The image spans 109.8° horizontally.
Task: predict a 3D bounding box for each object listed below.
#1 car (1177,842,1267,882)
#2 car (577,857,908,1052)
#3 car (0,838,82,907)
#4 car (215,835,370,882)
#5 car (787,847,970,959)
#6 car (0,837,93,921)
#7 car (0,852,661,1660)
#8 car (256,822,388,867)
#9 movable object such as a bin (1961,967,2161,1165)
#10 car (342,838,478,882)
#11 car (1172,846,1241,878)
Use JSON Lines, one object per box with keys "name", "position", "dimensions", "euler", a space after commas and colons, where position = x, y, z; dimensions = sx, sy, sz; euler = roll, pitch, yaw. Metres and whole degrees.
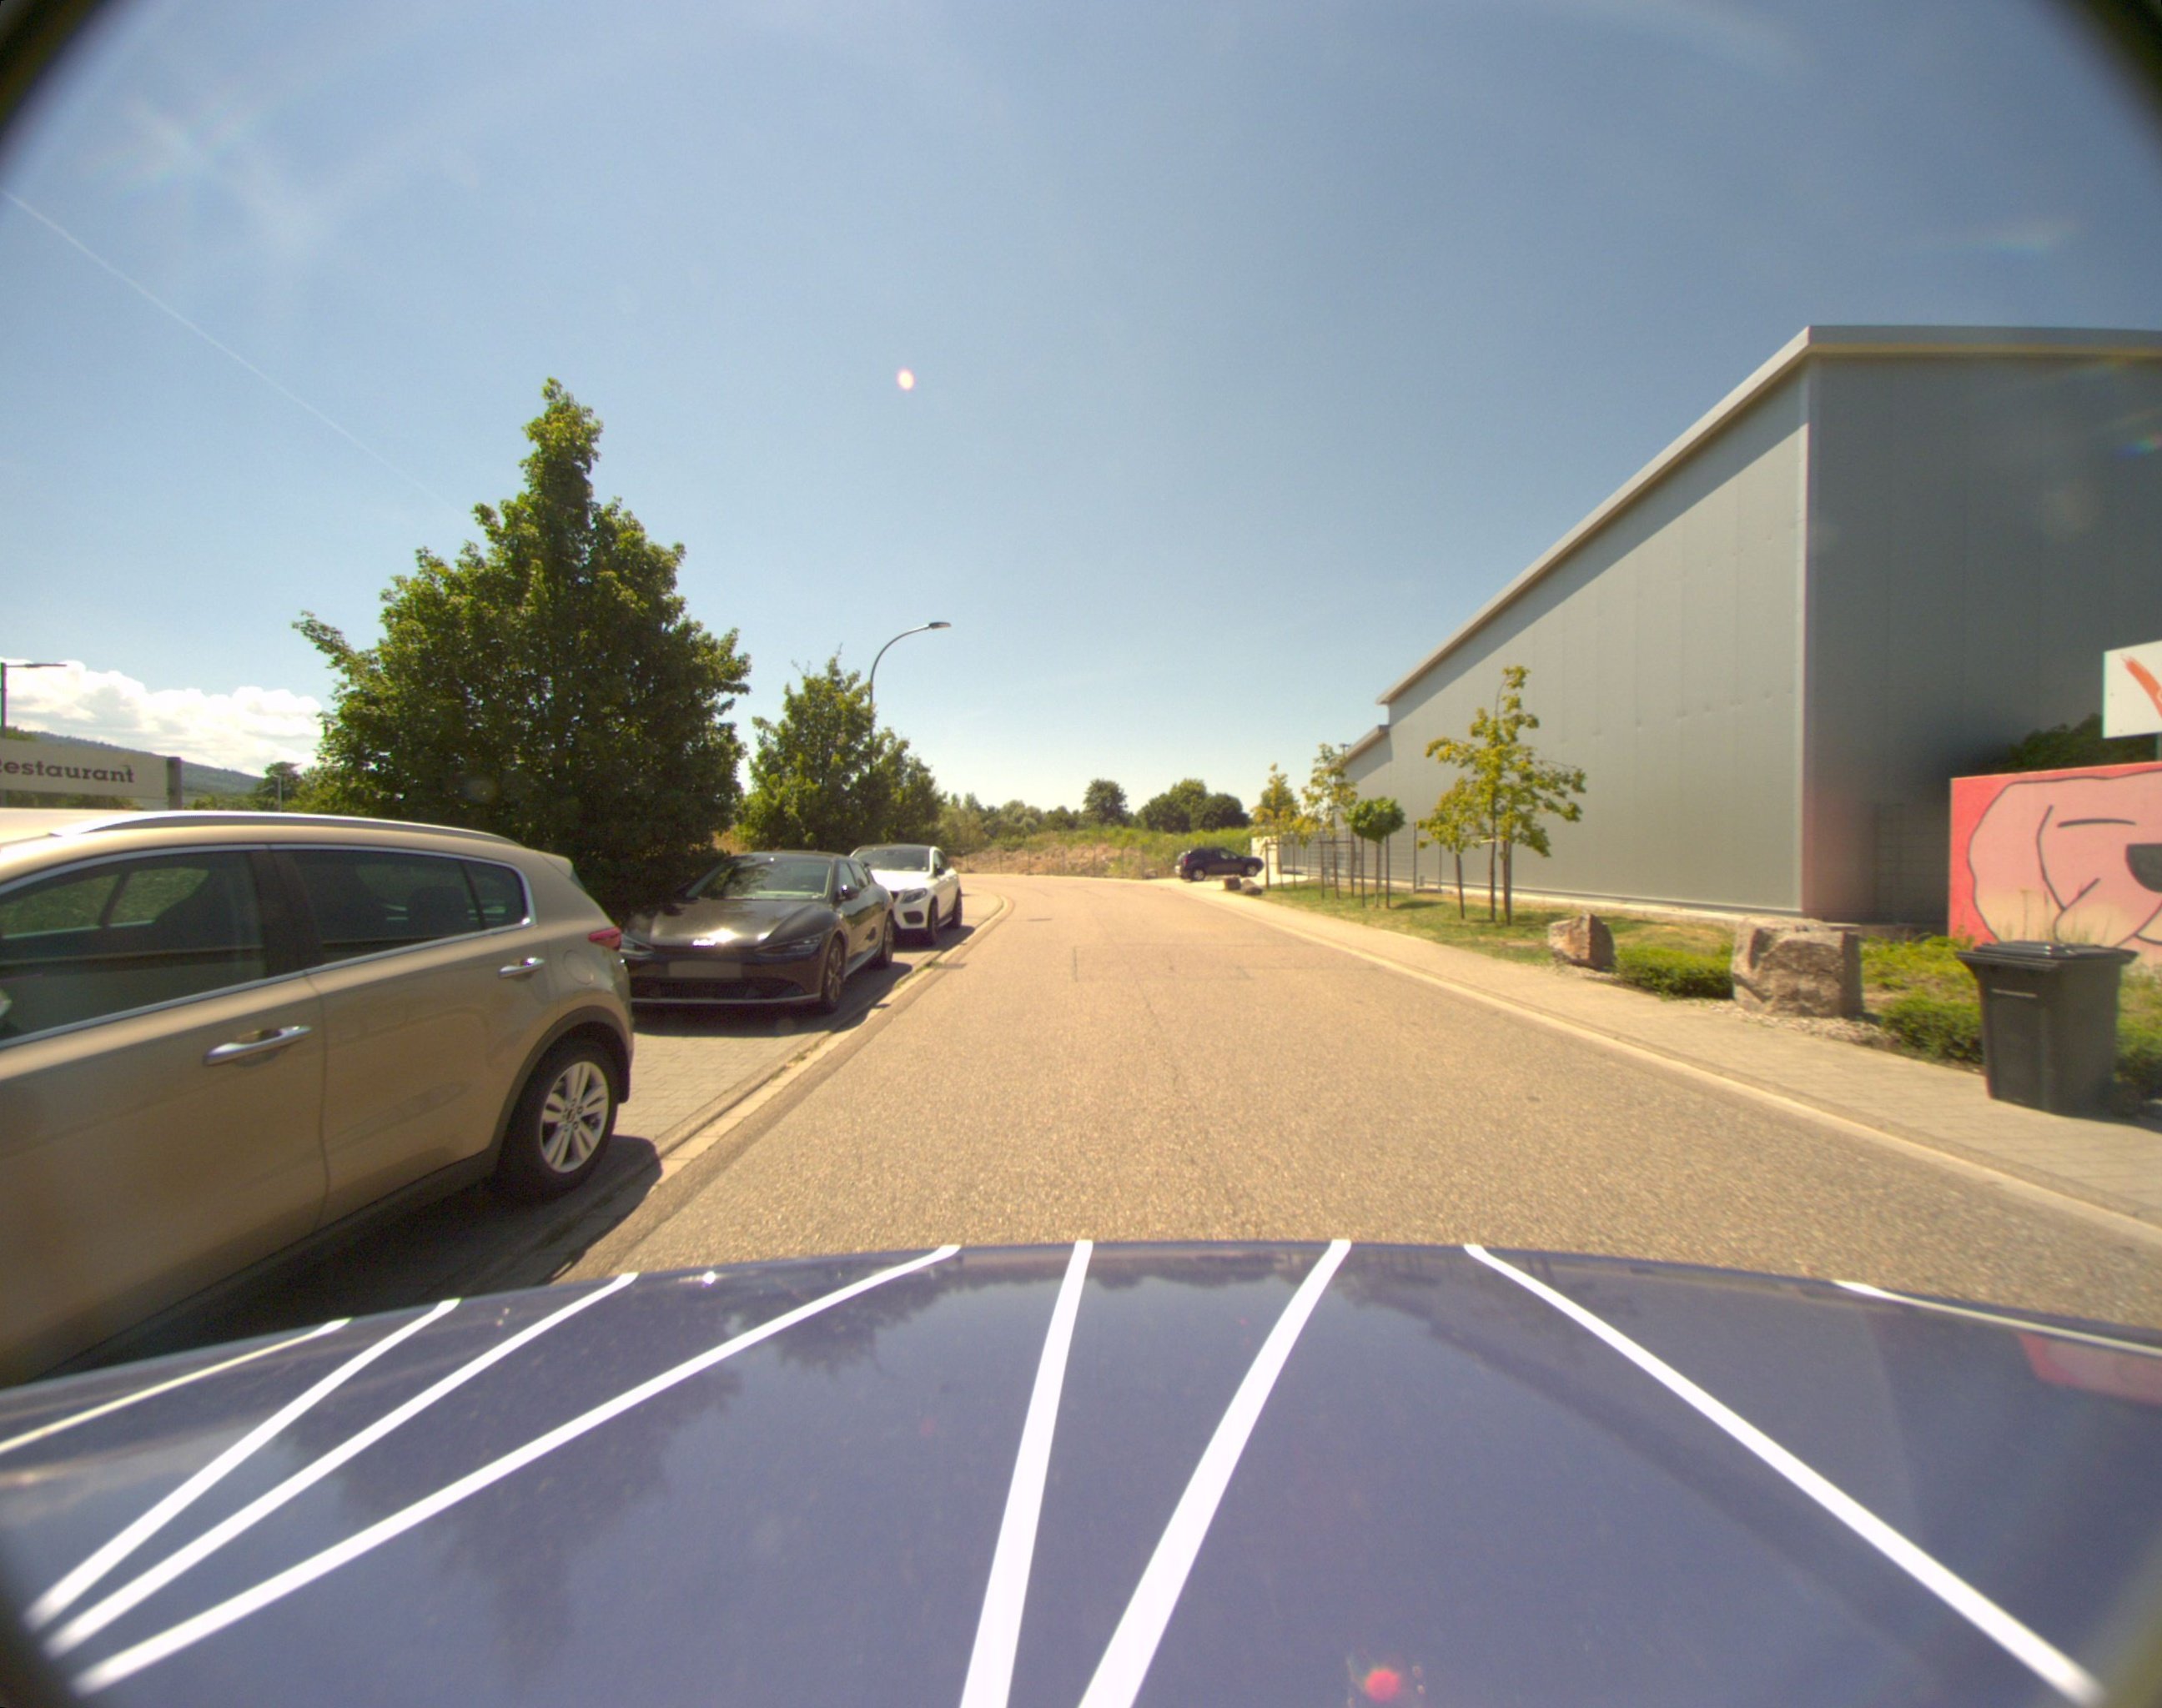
{"name": "car", "position": [7.180, 0.369, 39.081], "dimensions": [4.173, 1.649, 1.781], "euler": [-5, 1, -1]}
{"name": "car", "position": [-3.294, 0.843, 8.547], "dimensions": [1.909, 1.520, 4.627], "euler": [1, 0, -4]}
{"name": "car", "position": [-29.743, 0.478, 19.656], "dimensions": [1.999, 1.839, 4.401], "euler": [1, -1, -1]}
{"name": "car", "position": [-33.511, 0.134, 32.514], "dimensions": [1.999, 1.857, 4.399], "euler": [0, 1, -1]}
{"name": "car", "position": [-3.498, 0.743, 14.189], "dimensions": [2.149, 1.689, 4.784], "euler": [2, 0, -1]}
{"name": "car", "position": [-23.768, 0.498, 15.299], "dimensions": [1.999, 1.775, 4.401], "euler": [1, -1, -1]}
{"name": "car", "position": [-3.134, 0.839, 1.810], "dimensions": [1.809, 1.626, 4.457], "euler": [2, 0, -1]}
{"name": "car", "position": [-39.627, -0.509, 39.874], "dimensions": [1.998, 2.230, 4.751], "euler": [0, 1, 4]}
{"name": "movable object such as a bin", "position": [5.486, 1.149, 4.241], "dimensions": [0.572, 0.944, 0.512], "euler": [-1, 1, -6]}
{"name": "car", "position": [-28.631, 0.205, 32.636], "dimensions": [1.937, 1.776, 4.399], "euler": [0, 1, -1]}
{"name": "car", "position": [6.928, 0.436, 42.075], "dimensions": [3.370, 1.453, 1.781], "euler": [-5, 1, -3]}
